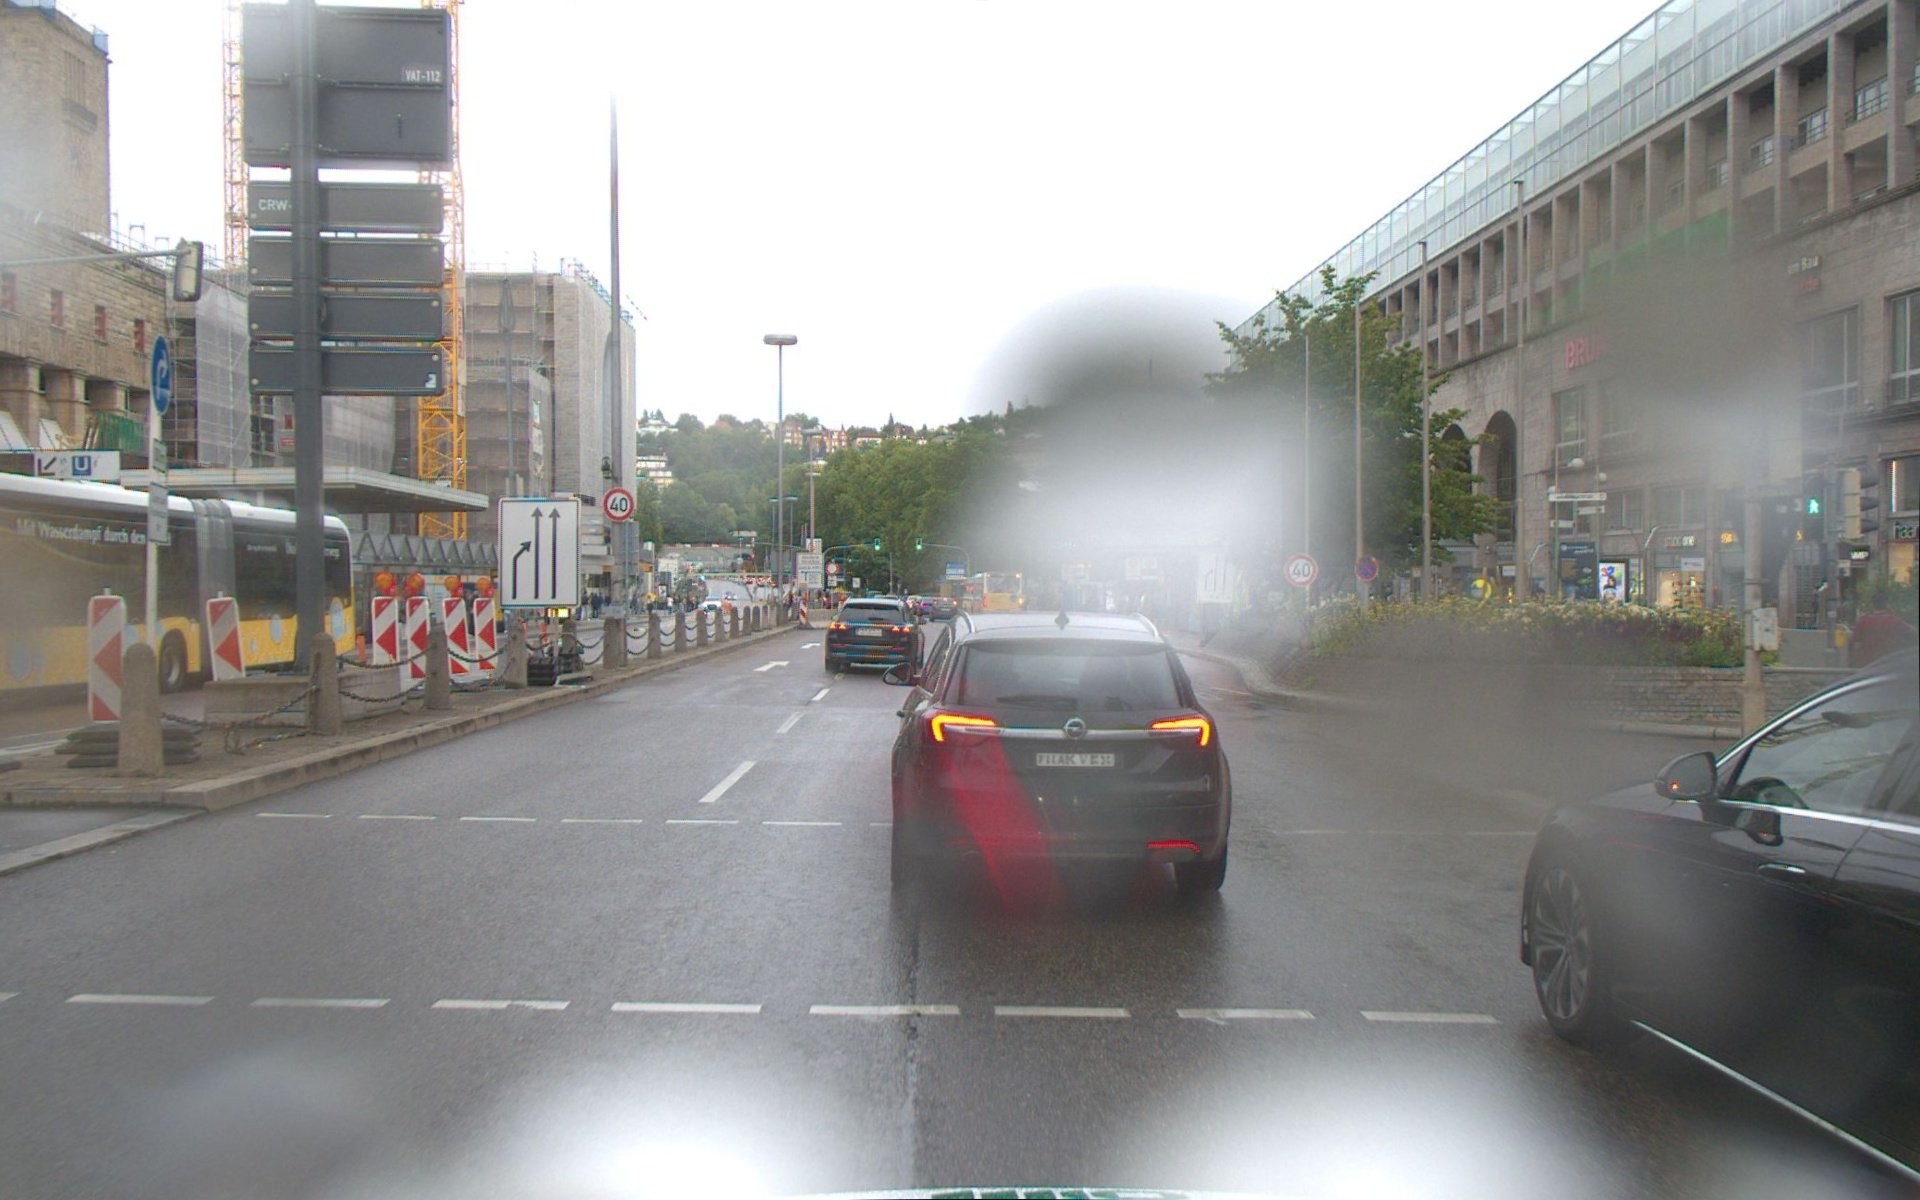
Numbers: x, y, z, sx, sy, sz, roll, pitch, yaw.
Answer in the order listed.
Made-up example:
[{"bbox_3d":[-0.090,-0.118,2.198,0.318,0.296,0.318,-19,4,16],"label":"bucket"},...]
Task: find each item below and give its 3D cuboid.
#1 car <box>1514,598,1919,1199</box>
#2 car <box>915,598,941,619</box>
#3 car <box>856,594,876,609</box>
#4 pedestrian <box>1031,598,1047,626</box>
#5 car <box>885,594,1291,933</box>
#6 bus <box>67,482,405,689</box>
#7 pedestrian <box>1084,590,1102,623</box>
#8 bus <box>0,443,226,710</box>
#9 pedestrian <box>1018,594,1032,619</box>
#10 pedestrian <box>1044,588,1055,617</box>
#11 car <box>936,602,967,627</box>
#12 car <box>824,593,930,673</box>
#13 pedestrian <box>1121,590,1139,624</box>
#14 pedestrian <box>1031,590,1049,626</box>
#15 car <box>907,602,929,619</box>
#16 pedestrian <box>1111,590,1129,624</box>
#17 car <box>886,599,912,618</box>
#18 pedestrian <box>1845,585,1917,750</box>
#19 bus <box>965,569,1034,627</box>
[{"bbox_3d":[3.093,0.784,4.209,1.757,1.528,4.627,1,-1,-1],"label":"car"},{"bbox_3d":[-2.359,0.635,119.719,1.718,1.422,4.645,1,-1,-3],"label":"car"},{"bbox_3d":[-9.209,0.131,162.638,1.723,1.422,3.563,1,-1,-1],"label":"car"},{"bbox_3d":[6.190,0.934,130.284,1.174,2.187,1.228,1,-1,1],"label":"pedestrian"},{"bbox_3d":[0.558,0.776,9.579,1.836,1.512,3.999,1,-1,-1],"label":"car"},{"bbox_3d":[-14.720,-0.186,34.834,2.614,3.665,10.209,1,-1,0],"label":"bus"},{"bbox_3d":[6.904,0.347,85.843,0.748,1.720,0.824,1,-1,-5],"label":"pedestrian"},{"bbox_3d":[-14.524,-0.325,24.604,2.614,3.665,10.237,1,-1,0],"label":"bus"},{"bbox_3d":[5.712,0.563,146.164,1.174,2.187,1.228,1,-1,1],"label":"pedestrian"},{"bbox_3d":[5.435,0.155,100.487,0.644,1.720,0.609,1,-1,0],"label":"pedestrian"},{"bbox_3d":[-0.516,0.895,99.860,1.808,1.422,3.666,1,-1,-1],"label":"car"},{"bbox_3d":[-1.651,0.668,34.290,1.817,1.495,4.587,1,-1,1],"label":"car"},{"bbox_3d":[8.668,0.368,84.314,0.748,1.720,0.824,1,-1,-5],"label":"pedestrian"},{"bbox_3d":[5.644,0.591,117.104,1.174,2.478,1.228,1,-1,1],"label":"pedestrian"},{"bbox_3d":[-3.722,0.914,146.946,1.808,1.422,3.563,1,0,-1],"label":"car"},{"bbox_3d":[8.266,0.375,85.496,0.748,1.720,0.824,1,-1,-5],"label":"pedestrian"},{"bbox_3d":[-4.584,0.650,125.153,1.808,1.422,3.563,1,-1,-1],"label":"car"},{"bbox_3d":[10.250,0.737,18.401,0.560,1.783,0.676,0,-1,42],"label":"pedestrian"},{"bbox_3d":[2.523,-0.008,110.850,4.088,3.530,14.651,1,-1,0],"label":"bus"}]
